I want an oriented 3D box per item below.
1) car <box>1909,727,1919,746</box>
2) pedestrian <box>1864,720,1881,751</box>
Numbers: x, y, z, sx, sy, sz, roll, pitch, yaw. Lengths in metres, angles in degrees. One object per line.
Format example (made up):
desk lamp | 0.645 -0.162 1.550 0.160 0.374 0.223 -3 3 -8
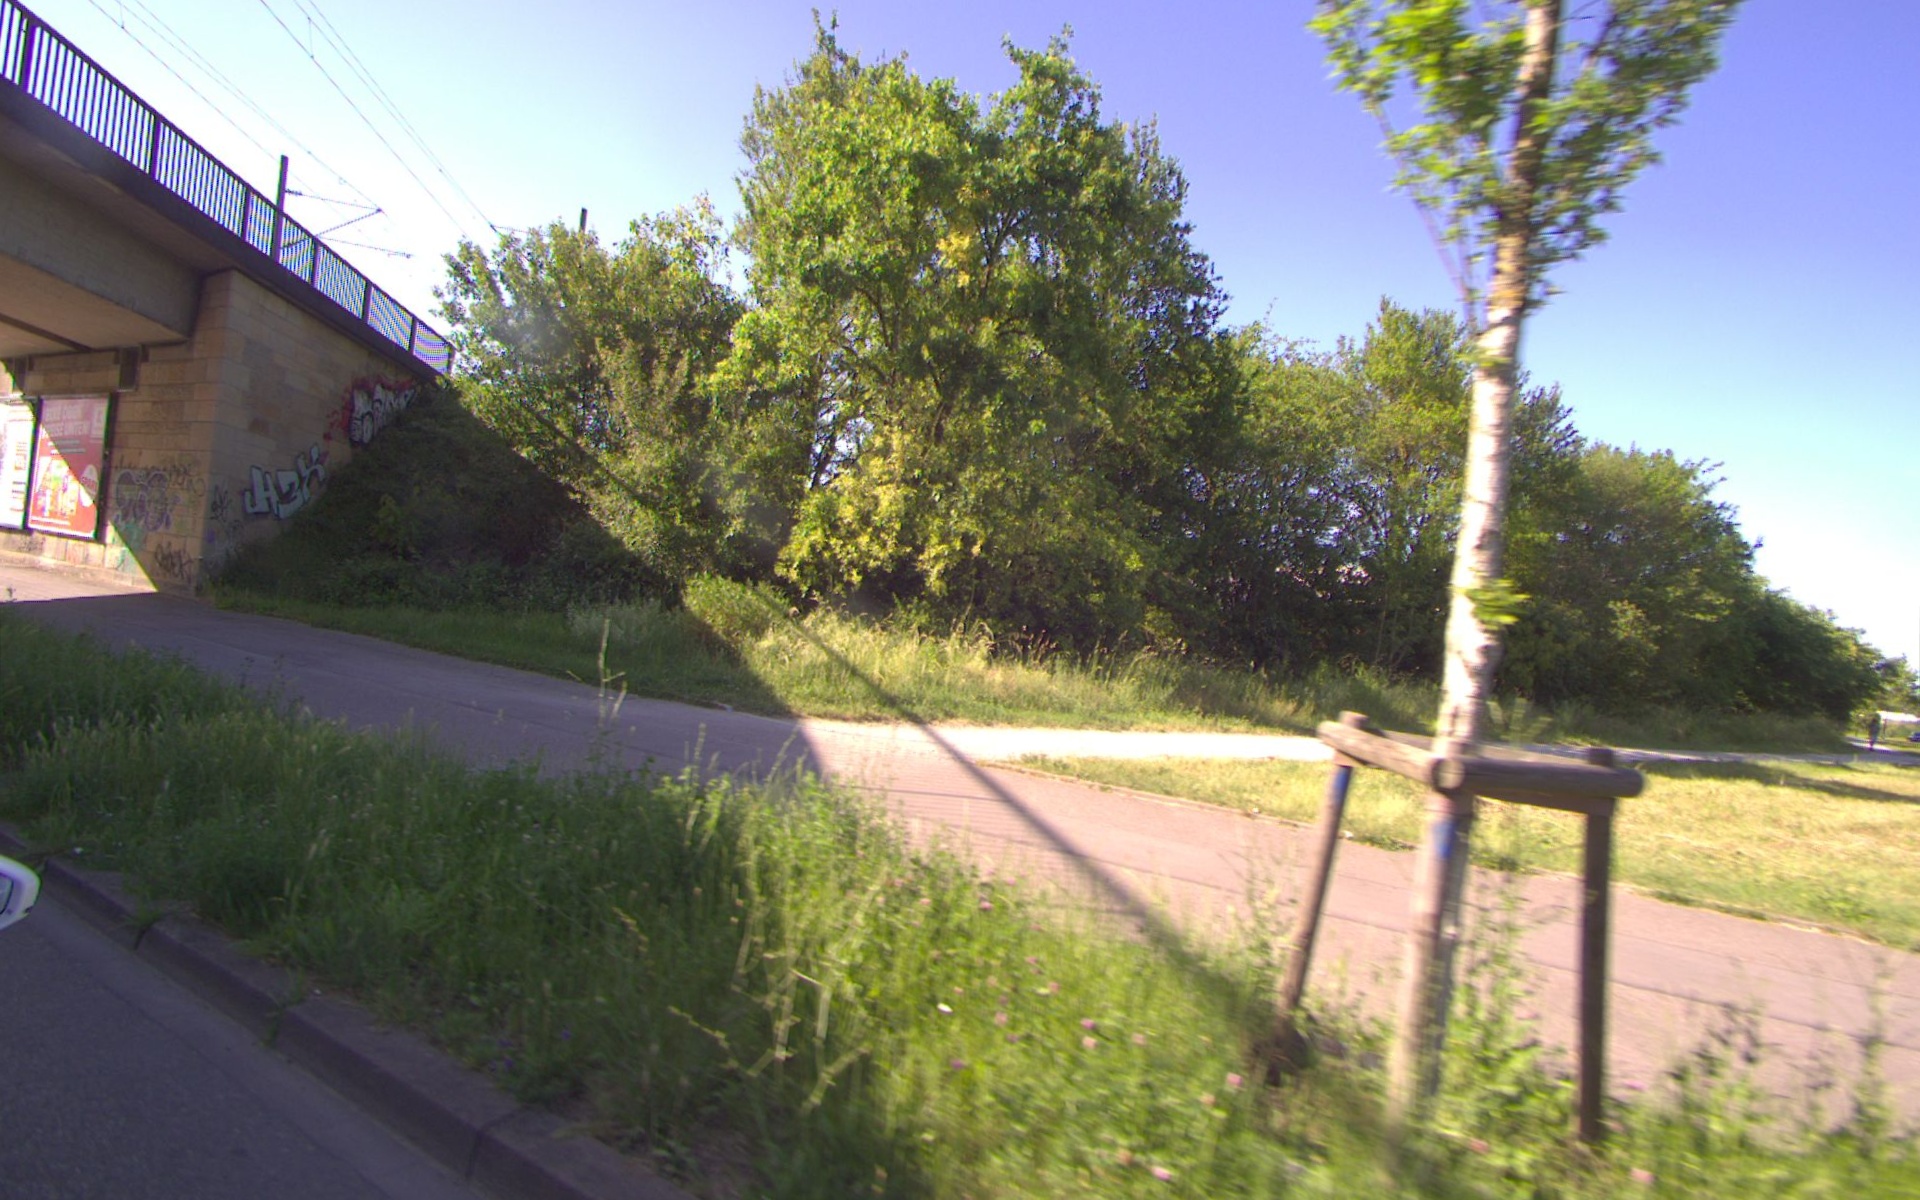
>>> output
car | 93.108 13.271 96.999 1.972 1.658 3.985 6 -3 41
pedestrian | 47.313 7.028 52.152 0.534 1.546 0.531 6 -2 45
